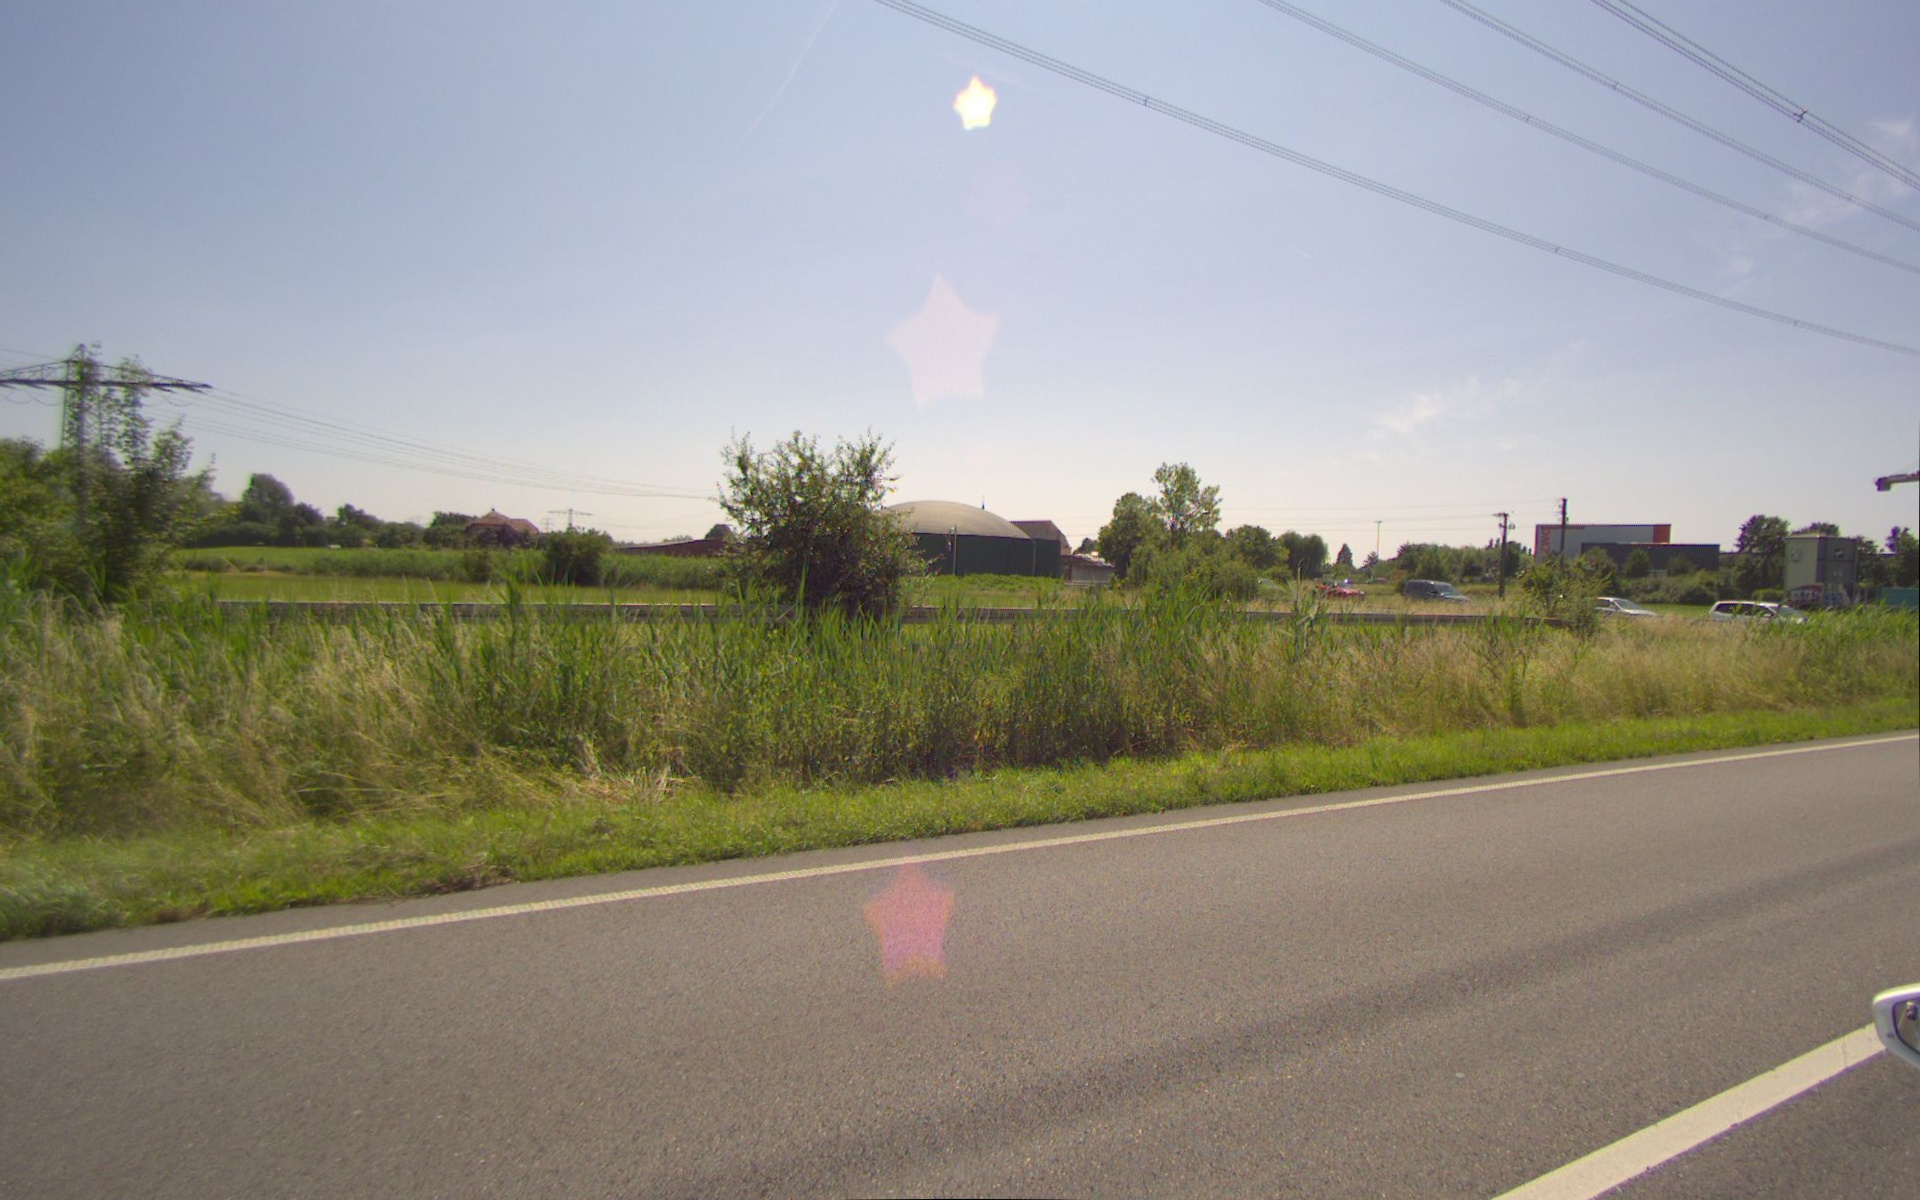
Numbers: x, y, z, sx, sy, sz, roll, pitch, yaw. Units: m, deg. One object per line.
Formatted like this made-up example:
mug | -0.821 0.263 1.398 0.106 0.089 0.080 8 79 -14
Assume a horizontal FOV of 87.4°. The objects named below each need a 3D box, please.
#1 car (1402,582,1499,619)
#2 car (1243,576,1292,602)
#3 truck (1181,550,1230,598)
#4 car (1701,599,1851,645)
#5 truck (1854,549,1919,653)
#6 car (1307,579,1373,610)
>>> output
car | 28.205 -0.022 57.974 2.057 1.893 4.928 0 2 -20
car | 23.737 -0.871 77.626 1.633 1.927 3.984 1 1 -18
truck | 25.926 -2.676 106.752 3.615 4.708 13.247 2 1 8
car | 33.893 0.879 41.913 1.935 1.634 4.542 2 2 -14
truck | 37.054 0.178 35.323 2.465 3.785 7.875 1 3 -26
car | 25.484 -0.419 67.531 1.884 1.874 4.469 2 2 -15
